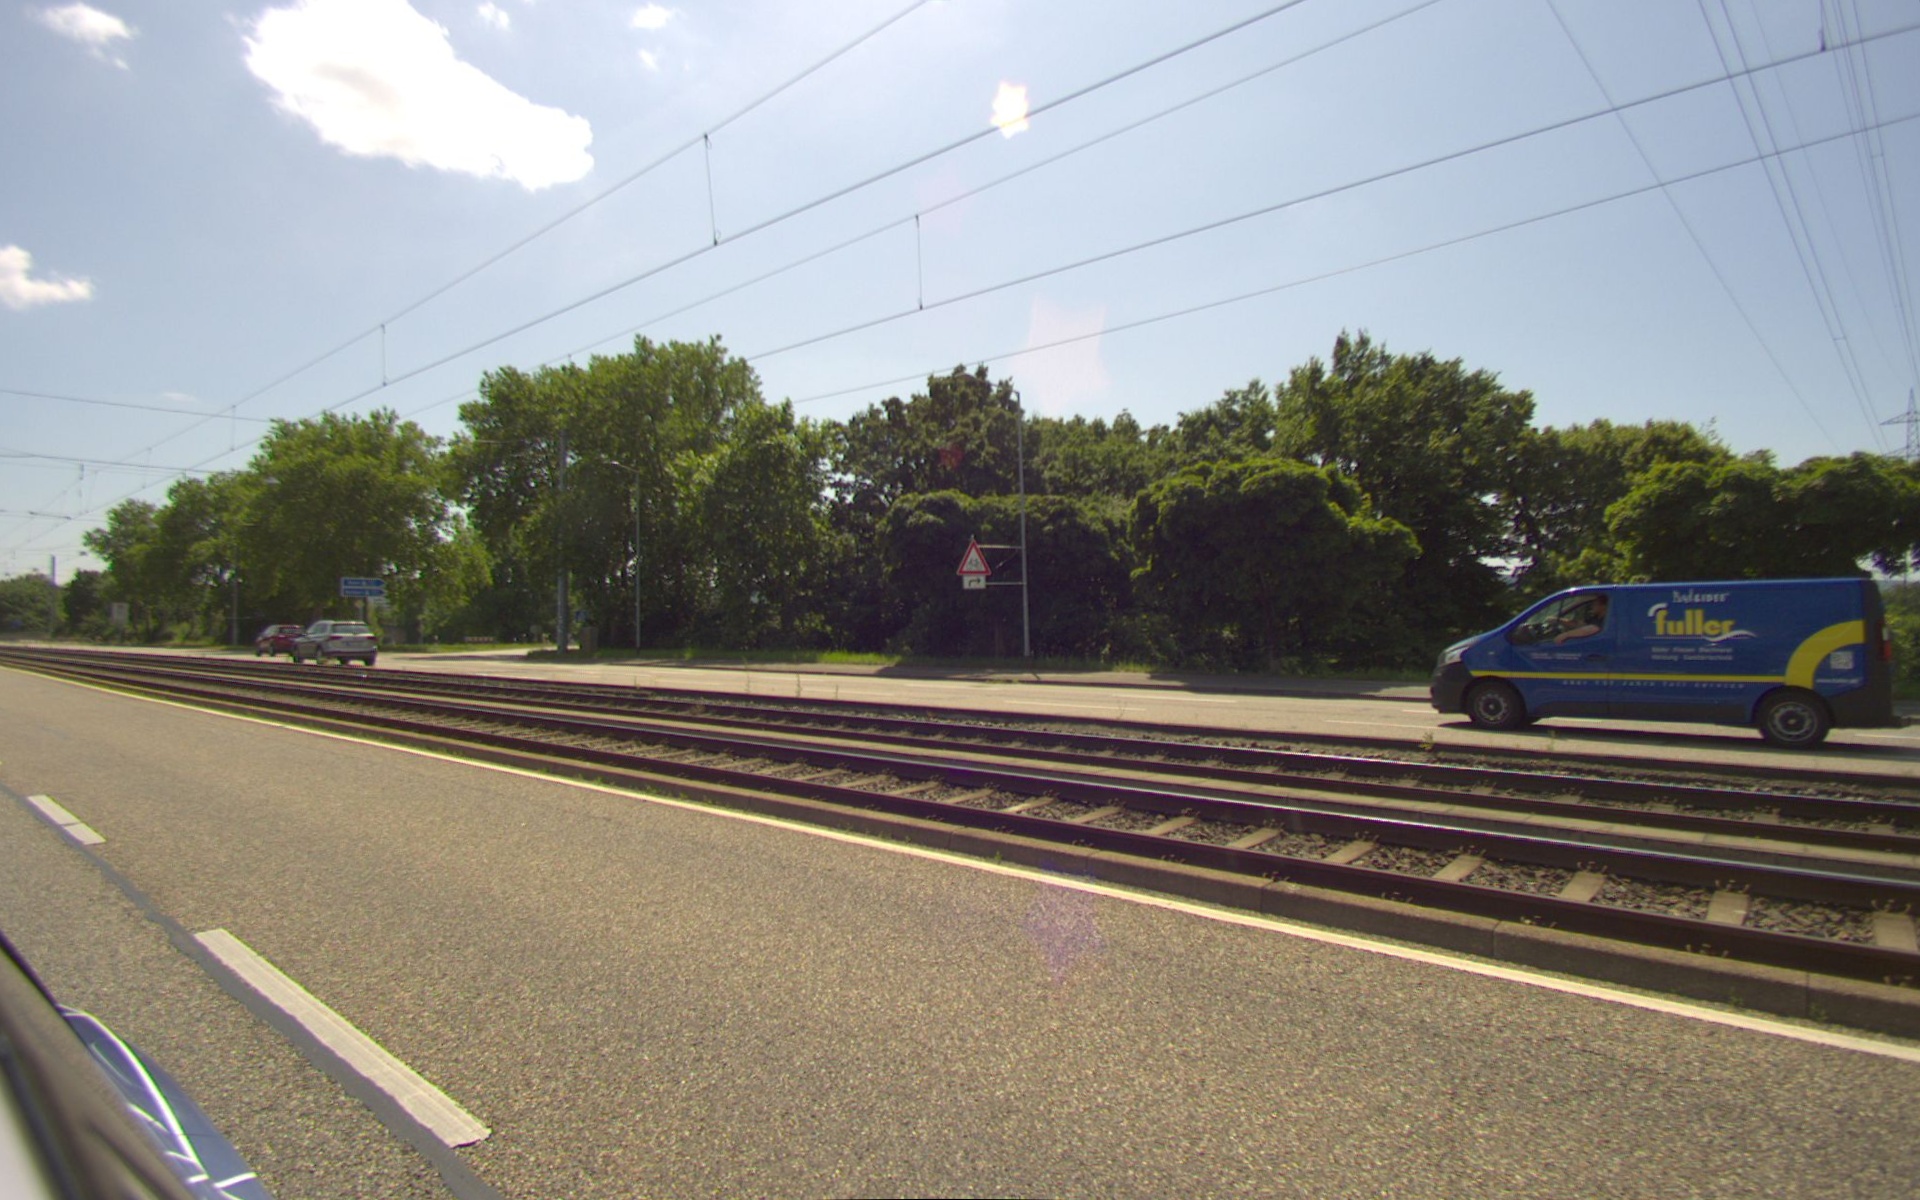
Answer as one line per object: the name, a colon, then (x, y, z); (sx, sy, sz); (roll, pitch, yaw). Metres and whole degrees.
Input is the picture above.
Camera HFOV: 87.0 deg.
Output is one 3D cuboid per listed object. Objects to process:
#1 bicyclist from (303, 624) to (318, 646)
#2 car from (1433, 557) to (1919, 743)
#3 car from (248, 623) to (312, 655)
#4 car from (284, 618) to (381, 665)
bicyclist: (-45.857, 2.470, 71.442); (1.159, 1.529, 0.615); (-2, -2, 41)
car: (8.897, 0.605, 12.747); (5.005, 1.942, 1.837); (-2, -3, 41)
car: (-36.002, 2.055, 53.553); (4.209, 1.638, 1.782); (-2, -3, 41)
car: (-23.357, 1.547, 37.621); (4.492, 1.638, 1.782); (-2, -3, 41)
